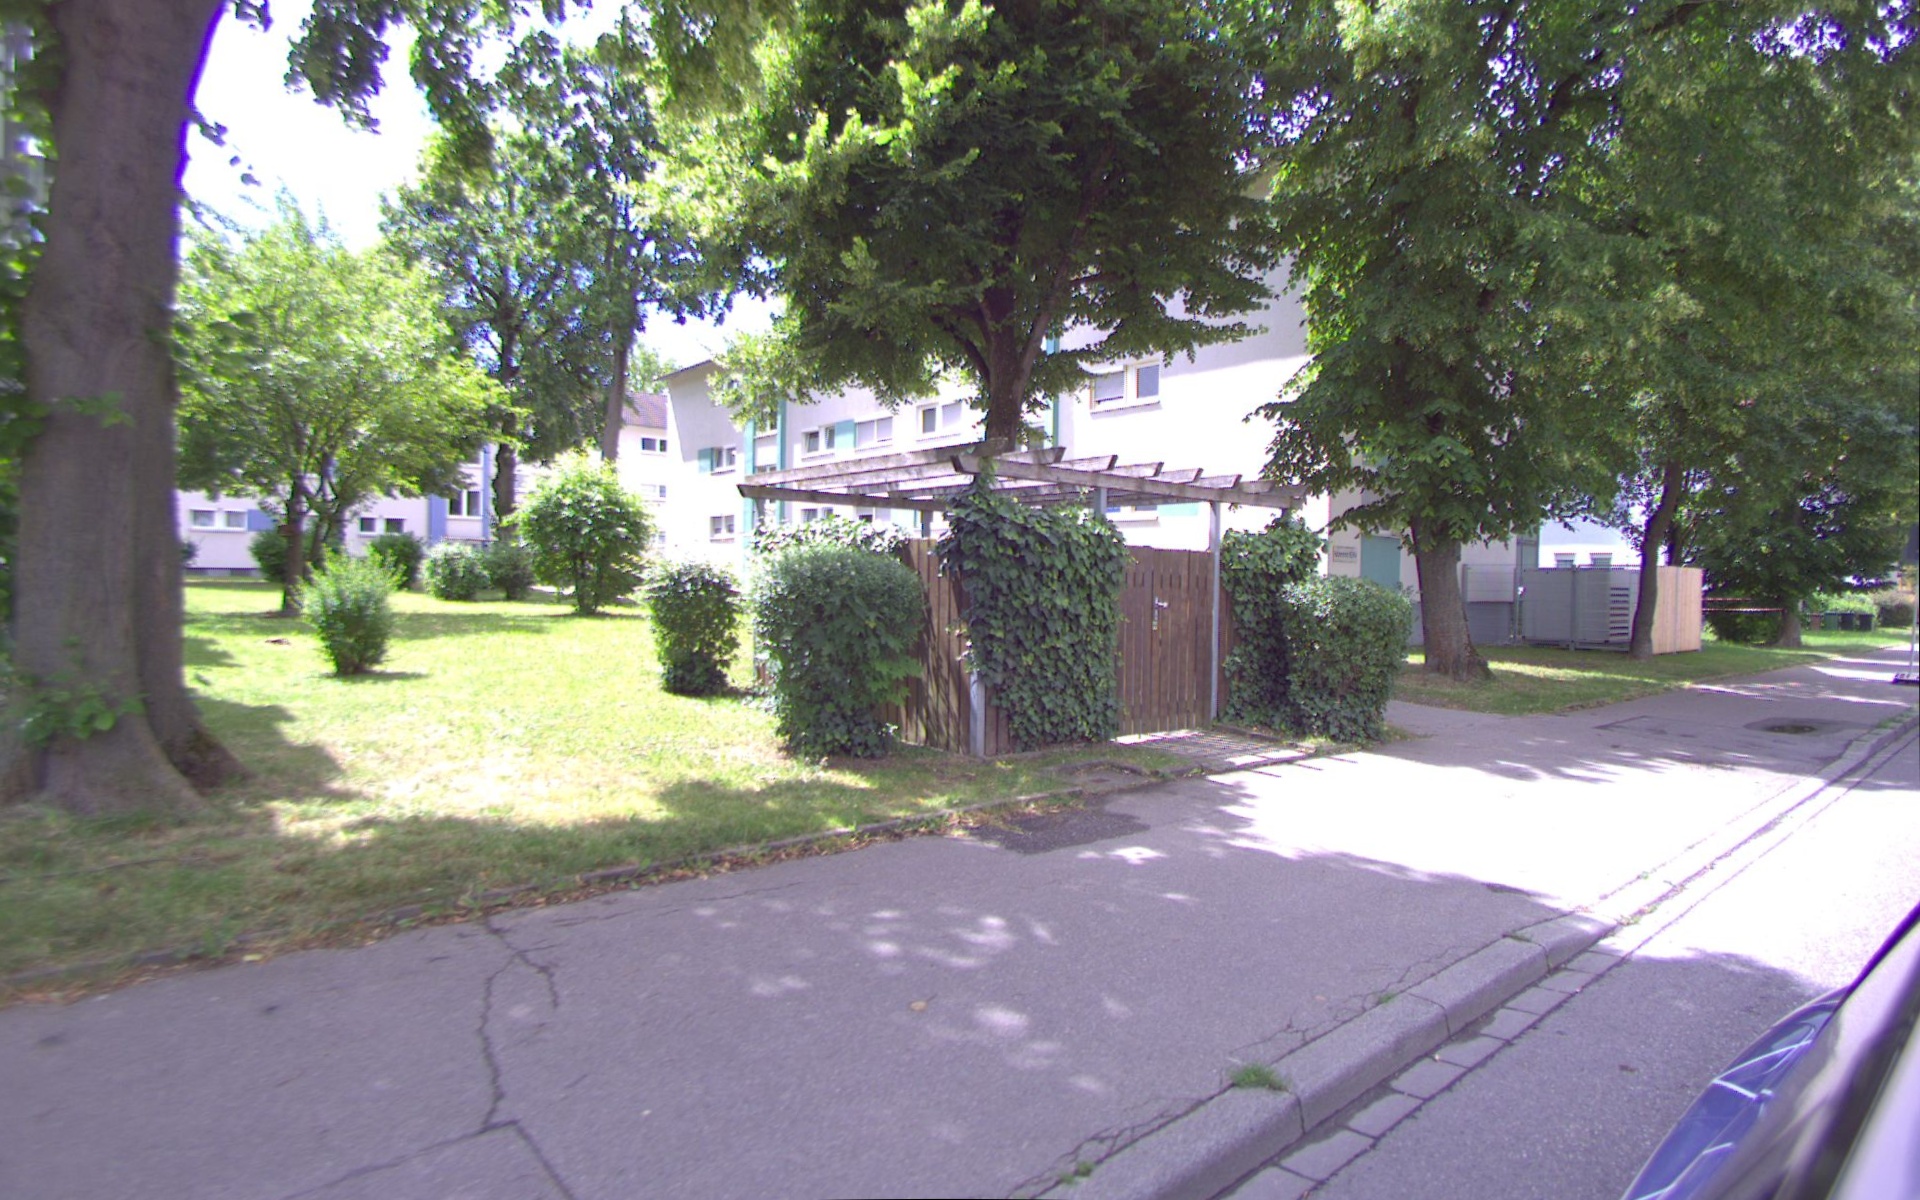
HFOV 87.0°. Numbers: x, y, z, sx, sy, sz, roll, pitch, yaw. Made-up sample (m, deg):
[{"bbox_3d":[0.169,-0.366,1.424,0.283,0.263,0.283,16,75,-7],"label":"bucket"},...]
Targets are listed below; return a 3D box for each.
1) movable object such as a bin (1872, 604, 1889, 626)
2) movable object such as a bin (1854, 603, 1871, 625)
[{"bbox_3d":[41.958,0.673,46.133,0.570,0.966,0.497,1,2,-41],"label":"movable object such as a bin"},{"bbox_3d":[41.540,0.647,46.593,0.541,0.959,0.501,1,2,-41],"label":"movable object such as a bin"}]
